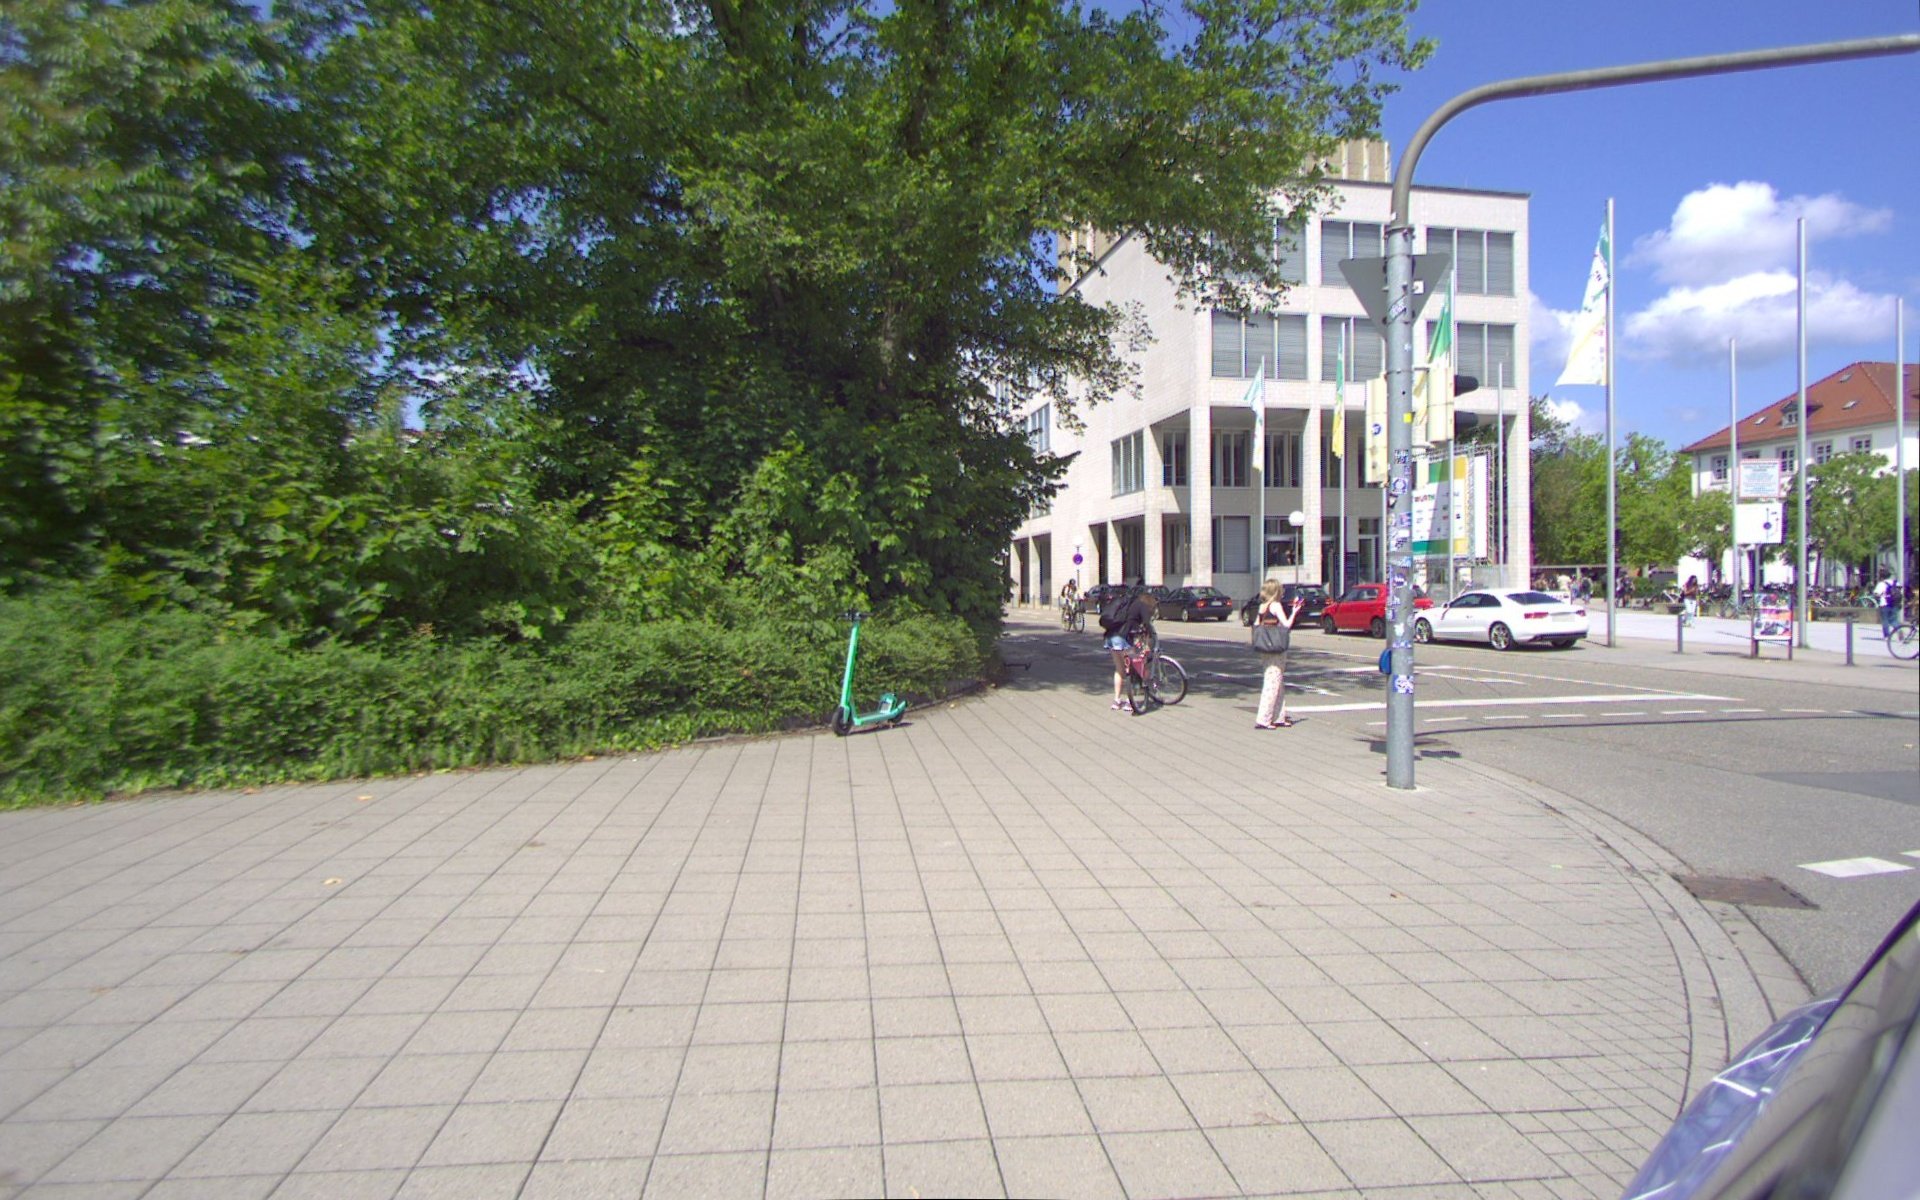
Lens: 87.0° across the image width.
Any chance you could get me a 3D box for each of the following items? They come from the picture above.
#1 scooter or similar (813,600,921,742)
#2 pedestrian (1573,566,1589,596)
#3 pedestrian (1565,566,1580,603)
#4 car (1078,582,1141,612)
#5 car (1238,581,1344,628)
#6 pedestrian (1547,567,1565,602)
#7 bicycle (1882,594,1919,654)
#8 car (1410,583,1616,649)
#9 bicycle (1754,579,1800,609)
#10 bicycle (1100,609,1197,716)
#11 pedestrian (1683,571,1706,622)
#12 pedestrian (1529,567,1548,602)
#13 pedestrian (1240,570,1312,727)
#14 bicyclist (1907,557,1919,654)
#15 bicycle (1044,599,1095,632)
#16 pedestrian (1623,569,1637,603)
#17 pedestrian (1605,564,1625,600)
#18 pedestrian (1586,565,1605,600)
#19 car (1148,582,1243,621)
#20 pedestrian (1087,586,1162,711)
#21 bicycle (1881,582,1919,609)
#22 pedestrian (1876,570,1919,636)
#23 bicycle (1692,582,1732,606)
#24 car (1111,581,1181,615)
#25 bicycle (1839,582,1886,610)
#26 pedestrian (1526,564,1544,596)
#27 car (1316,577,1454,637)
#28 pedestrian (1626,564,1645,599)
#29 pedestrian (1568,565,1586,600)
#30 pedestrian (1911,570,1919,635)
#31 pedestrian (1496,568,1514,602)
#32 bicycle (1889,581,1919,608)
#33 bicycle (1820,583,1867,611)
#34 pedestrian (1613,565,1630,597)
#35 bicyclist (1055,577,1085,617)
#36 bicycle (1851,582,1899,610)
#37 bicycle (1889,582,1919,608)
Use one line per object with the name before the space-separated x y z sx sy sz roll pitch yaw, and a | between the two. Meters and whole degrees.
scooter or similar | -0.878 0.644 9.800 0.433 1.249 1.218 2 1 28
pedestrian | 40.314 -1.265 65.702 0.788 1.926 0.674 -1 0 -42
pedestrian | 28.837 -0.722 47.640 0.376 1.735 0.472 -1 0 -41
car | 7.394 -0.168 50.380 1.656 1.413 4.155 -1 1 -13
car | 11.150 0.117 34.334 1.706 1.465 3.937 -1 1 -11
pedestrian | 33.260 -0.884 56.488 0.788 1.926 0.674 -1 0 -42
bicycle | 19.027 0.472 19.349 0.676 1.148 2.058 0 1 -11
car | 12.941 0.313 24.043 1.796 1.415 4.451 -1 1 -13
bicycle | 30.777 -0.235 38.130 0.345 1.087 1.375 0 1 -20
bicycle | 2.297 0.701 12.182 0.666 1.157 1.647 2 1 28
pedestrian | 23.361 -0.125 32.187 0.534 1.610 0.431 0 0 29
pedestrian | 32.574 -0.877 56.967 0.788 1.926 0.674 -1 0 -42
pedestrian | 3.445 0.502 11.016 0.639 1.647 0.629 -1 0 28
bicyclist | 18.997 0.111 19.339 0.670 1.877 1.089 -1 0 -12
bicycle | 3.505 0.471 32.620 0.634 1.011 2.167 -1 1 -25
pedestrian | 31.007 -0.668 46.872 0.469 1.555 0.556 -1 0 29
pedestrian | 35.488 -0.960 54.834 0.788 1.926 0.674 -1 0 -42
pedestrian | 34.831 -0.969 55.500 0.788 1.926 0.674 -1 0 -42
car | 9.433 0.017 40.892 1.960 1.458 4.410 -1 1 -13
pedestrian | 1.995 0.557 12.249 0.650 1.434 0.780 2 1 27
bicycle | 34.349 -0.177 36.834 0.345 0.963 1.373 0 1 -5
pedestrian | 23.889 0.059 25.647 0.675 1.642 0.830 -1 0 18
bicycle | 30.828 -0.262 41.510 0.345 0.963 1.375 0 1 -20
car | 8.435 -0.101 46.195 1.763 1.448 3.724 -1 1 -13
bicycle | 31.974 -0.136 35.863 0.345 0.963 1.373 0 1 -5
pedestrian | 35.062 -1.236 61.706 0.788 1.926 0.674 -1 0 -42
car | 12.128 0.170 29.150 1.736 1.576 3.825 -1 1 -13
pedestrian | 36.621 -1.005 54.891 0.788 1.926 0.674 -1 0 -42
pedestrian | 34.061 -0.947 55.871 0.788 1.926 0.674 -1 0 -42
pedestrian | 24.600 0.057 25.426 0.675 1.642 0.831 -1 0 16
pedestrian | 31.253 -0.864 58.018 0.788 1.926 0.674 -1 0 -42
bicycle | 34.896 -0.199 37.099 0.345 0.963 1.373 0 1 -5
bicycle | 31.305 -0.118 35.877 0.345 0.963 1.373 0 1 -5
pedestrian | 40.450 -1.187 61.914 0.788 1.926 0.674 -1 0 -42
bicyclist | 3.534 -0.104 32.534 0.606 1.241 0.835 -1 0 -25
bicycle | 32.472 -0.141 35.933 0.345 0.963 1.373 0 1 -5
bicycle | 35.289 -0.188 37.506 0.345 0.963 1.373 0 1 -5
